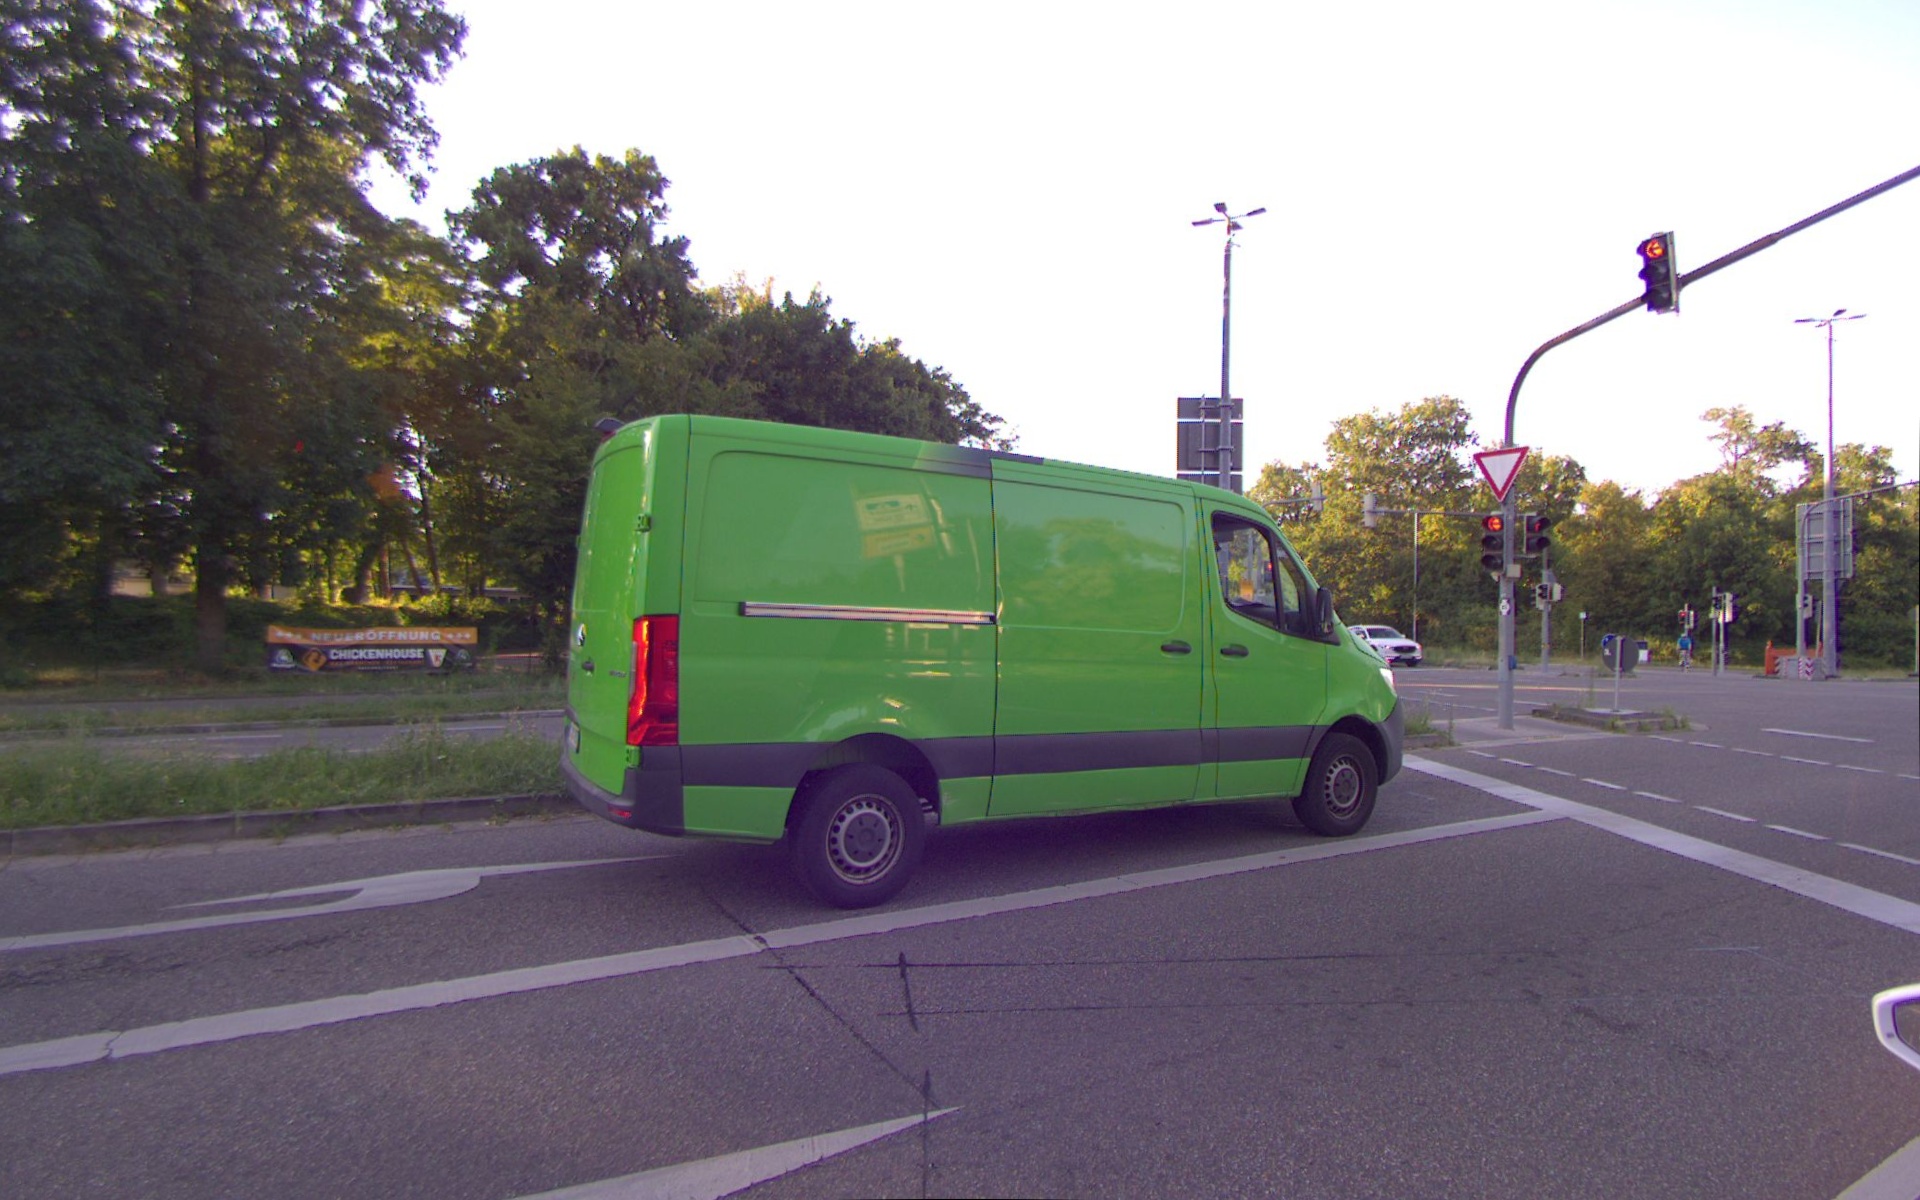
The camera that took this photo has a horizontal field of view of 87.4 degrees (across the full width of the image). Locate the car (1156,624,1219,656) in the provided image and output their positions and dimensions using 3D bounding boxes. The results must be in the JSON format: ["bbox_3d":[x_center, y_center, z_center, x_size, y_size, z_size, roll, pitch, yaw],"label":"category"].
[{"bbox_3d":[12.679,2.218,56.200,1.964,1.661,4.250,1,-1,-10],"label":"car"}]

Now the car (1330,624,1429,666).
[{"bbox_3d":[17.489,1.850,42.105,1.963,1.661,4.252,1,-1,-8],"label":"car"}]

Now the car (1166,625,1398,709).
[{"bbox_3d":[6.319,1.244,19.578,4.449,1.460,1.882,2,-2,-31],"label":"car"}]

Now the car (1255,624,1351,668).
[{"bbox_3d":[13.802,1.816,40.698,1.963,1.661,4.252,1,-1,-8],"label":"car"}]

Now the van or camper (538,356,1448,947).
[{"bbox_3d":[0.534,0.293,6.564,5.830,2.453,1.983,2,-1,-32],"label":"van or camper"}]
